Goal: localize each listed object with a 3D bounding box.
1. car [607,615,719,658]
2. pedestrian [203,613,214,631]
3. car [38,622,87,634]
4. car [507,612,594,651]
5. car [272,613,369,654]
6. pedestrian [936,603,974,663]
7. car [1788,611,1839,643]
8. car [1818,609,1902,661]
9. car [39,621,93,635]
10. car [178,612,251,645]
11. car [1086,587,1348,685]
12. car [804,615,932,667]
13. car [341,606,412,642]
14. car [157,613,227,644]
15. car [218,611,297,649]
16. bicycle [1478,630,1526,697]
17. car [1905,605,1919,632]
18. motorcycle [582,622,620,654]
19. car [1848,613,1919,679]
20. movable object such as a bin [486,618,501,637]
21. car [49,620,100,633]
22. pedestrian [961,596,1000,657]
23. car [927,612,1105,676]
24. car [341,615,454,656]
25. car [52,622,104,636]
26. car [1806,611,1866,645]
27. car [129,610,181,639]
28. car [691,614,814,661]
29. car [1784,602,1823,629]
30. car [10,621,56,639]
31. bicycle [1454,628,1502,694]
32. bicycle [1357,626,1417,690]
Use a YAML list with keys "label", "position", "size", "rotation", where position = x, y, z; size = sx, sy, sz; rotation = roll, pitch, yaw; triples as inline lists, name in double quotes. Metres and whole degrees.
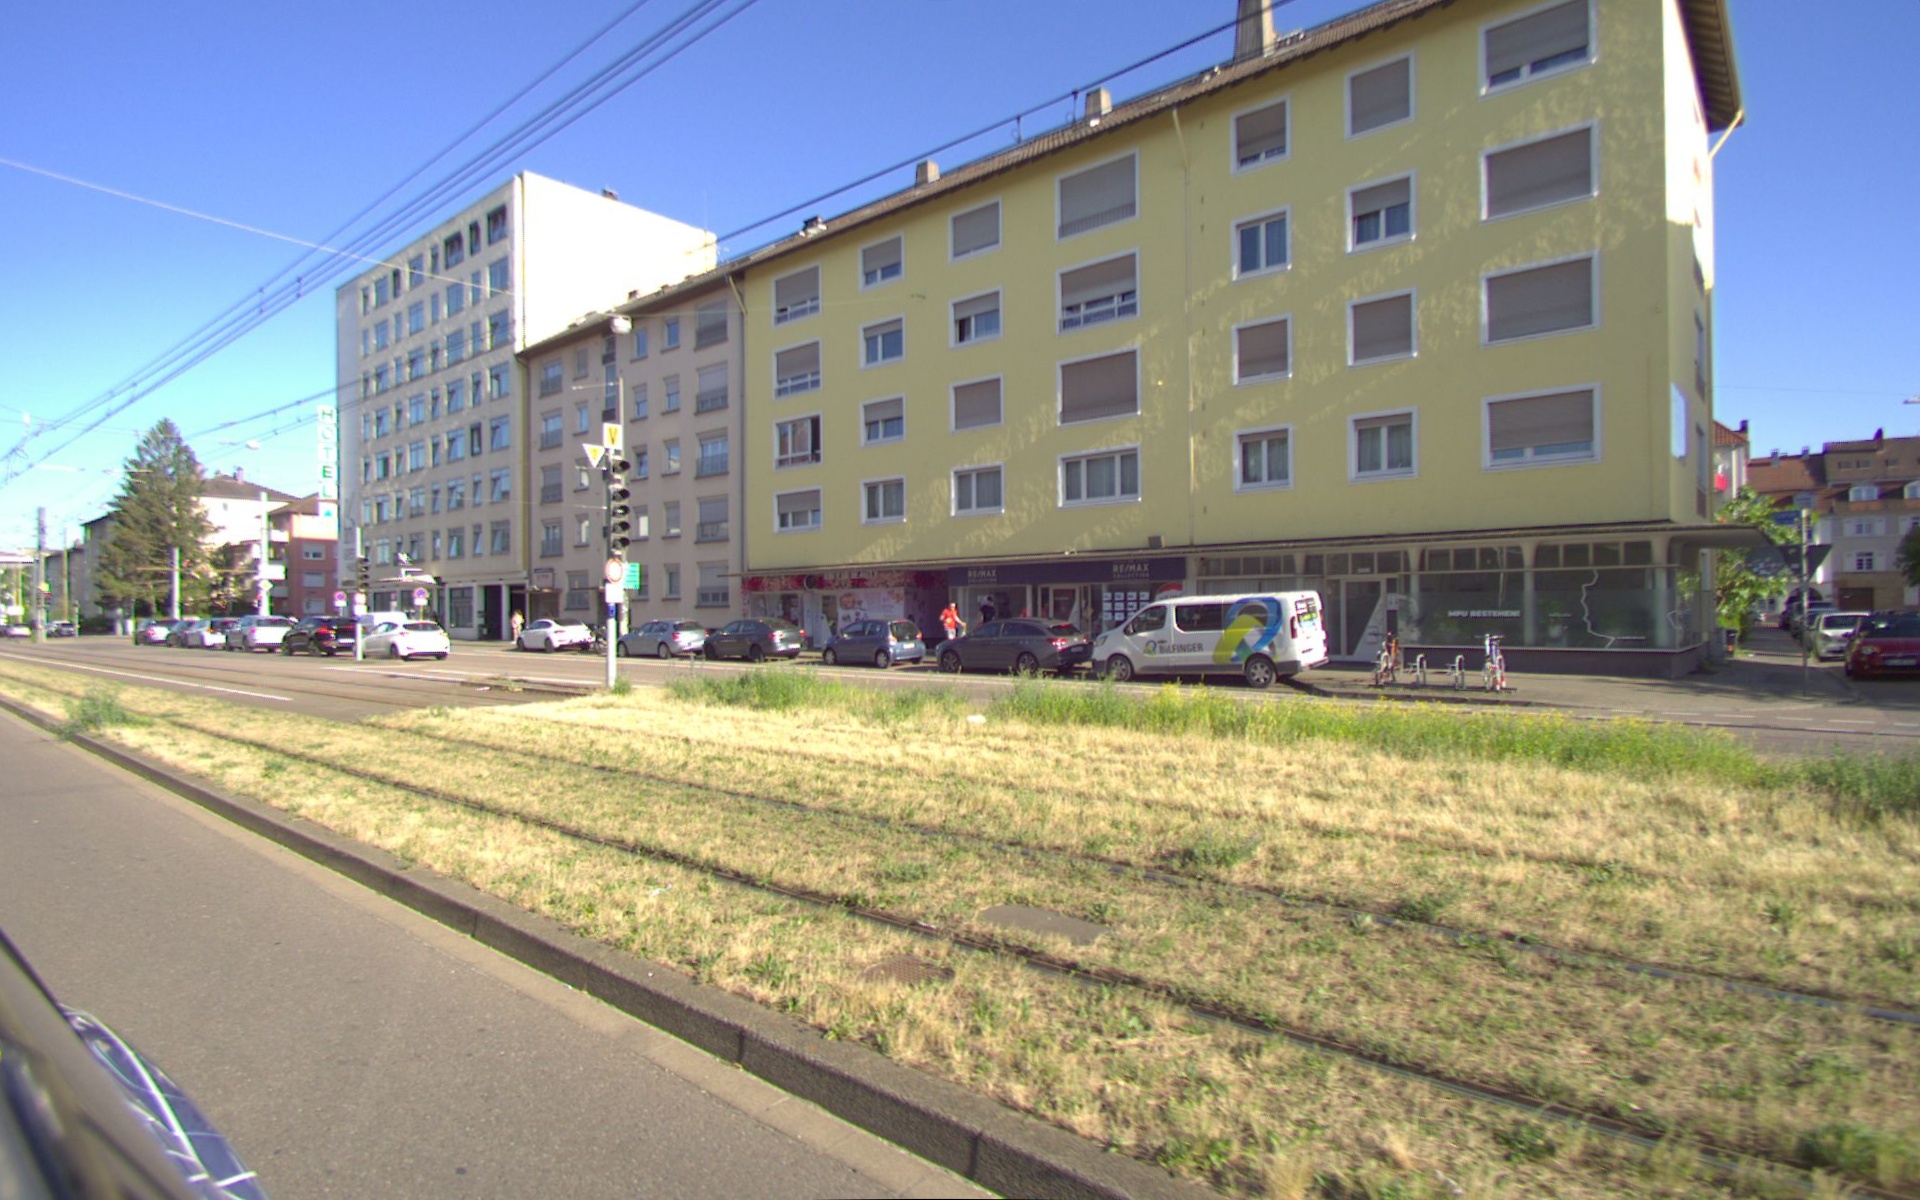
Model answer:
- label: "car"
  position: [-11.152, 1.346, 37.868]
  size: [4.410, 1.395, 1.766]
  rotation: [-2, 1, 39]
- label: "pedestrian"
  position: [-68.827, 1.990, 92.716]
  size: [0.510, 1.618, 0.607]
  rotation: [-2, 1, 39]
- label: "car"
  position: [-100.825, 3.117, 113.716]
  size: [1.737, 1.342, 3.946]
  rotation: [-2, -2, 40]
- label: "car"
  position: [-17.676, 1.341, 43.628]
  size: [4.197, 1.497, 1.740]
  rotation: [-2, 1, 41]
- label: "car"
  position: [-25.420, 1.330, 40.164]
  size: [4.406, 1.540, 1.767]
  rotation: [-2, -2, 36]
- label: "pedestrian"
  position: [-0.150, 0.988, 30.717]
  size: [0.844, 1.756, 0.664]
  rotation: [-2, 1, 41]
- label: "car"
  position: [46.037, 1.470, 54.641]
  size: [1.897, 1.623, 4.442]
  rotation: [-2, -3, 38]
- label: "car"
  position: [28.922, 1.130, 32.614]
  size: [1.771, 1.542, 3.948]
  rotation: [-2, -3, 39]
- label: "car"
  position: [-90.525, 2.786, 102.518]
  size: [1.737, 1.342, 3.946]
  rotation: [-2, -2, 40]
- label: "car"
  position: [-36.541, 1.427, 49.556]
  size: [4.236, 1.562, 1.838]
  rotation: [-2, -3, 39]
- label: "car"
  position: [5.806, 0.788, 23.358]
  size: [5.493, 1.964, 1.975]
  rotation: [-2, 1, 38]
- label: "car"
  position: [-2.846, 1.229, 31.054]
  size: [3.766, 1.395, 1.765]
  rotation: [-2, 1, 41]
- label: "car"
  position: [-33.923, 1.400, 58.785]
  size: [4.665, 1.912, 1.974]
  rotation: [-2, 1, 39]
- label: "car"
  position: [-40.891, 1.519, 53.868]
  size: [4.362, 1.562, 1.974]
  rotation: [-2, -3, 39]
- label: "car"
  position: [-31.034, 1.350, 44.655]
  size: [4.605, 1.593, 1.764]
  rotation: [-2, -2, 41]
- label: "bicycle"
  position: [10.441, 1.192, 19.477]
  size: [0.390, 1.114, 1.800]
  rotation: [-2, 1, 41]
- label: "car"
  position: [61.812, 1.194, 64.466]
  size: [1.897, 1.623, 4.442]
  rotation: [-2, -3, 38]
- label: "motorcycle"
  position: [-14.491, 1.527, 40.885]
  size: [0.481, 1.147, 2.107]
  rotation: [-2, 1, 7]
- label: "car"
  position: [21.847, 1.049, 23.386]
  size: [1.771, 1.424, 3.948]
  rotation: [-2, -3, 39]
- label: "movable object such as a bin"
  position: [-26.805, 1.596, 58.162]
  size: [0.775, 1.059, 0.538]
  rotation: [-2, -2, 43]
- label: "car"
  position: [-96.396, 2.928, 110.221]
  size: [1.737, 1.342, 3.946]
  rotation: [-2, -2, 40]
- label: "pedestrian"
  position: [0.641, 0.822, 31.646]
  size: [0.923, 1.874, 0.664]
  rotation: [-2, 1, 41]
- label: "car"
  position: [1.427, 1.140, 27.056]
  size: [4.593, 1.485, 1.765]
  rotation: [-2, 1, 41]
- label: "car"
  position: [-20.161, 1.268, 36.213]
  size: [4.405, 1.395, 1.817]
  rotation: [-2, -2, 35]
- label: "car"
  position: [-93.916, 3.082, 107.767]
  size: [1.737, 1.342, 3.946]
  rotation: [-2, -2, 40]
- label: "car"
  position: [38.334, 1.243, 44.348]
  size: [1.771, 1.424, 3.948]
  rotation: [-2, -3, 39]
- label: "car"
  position: [-46.289, 1.422, 58.167]
  size: [3.997, 1.571, 1.597]
  rotation: [-2, -3, 41]
- label: "car"
  position: [-7.132, 1.255, 34.575]
  size: [4.413, 1.431, 1.765]
  rotation: [-2, 1, 41]
- label: "car"
  position: [62.893, 1.176, 75.484]
  size: [2.013, 1.925, 4.442]
  rotation: [-2, -3, 38]
- label: "car"
  position: [-85.832, 2.750, 93.733]
  size: [1.693, 1.397, 3.725]
  rotation: [-3, 1, -18]
- label: "bicycle"
  position: [10.122, 1.165, 19.745]
  size: [0.390, 1.114, 1.800]
  rotation: [-2, 1, 41]
- label: "bicycle"
  position: [8.769, 1.164, 20.747]
  size: [0.472, 1.114, 2.076]
  rotation: [-2, 1, 41]
